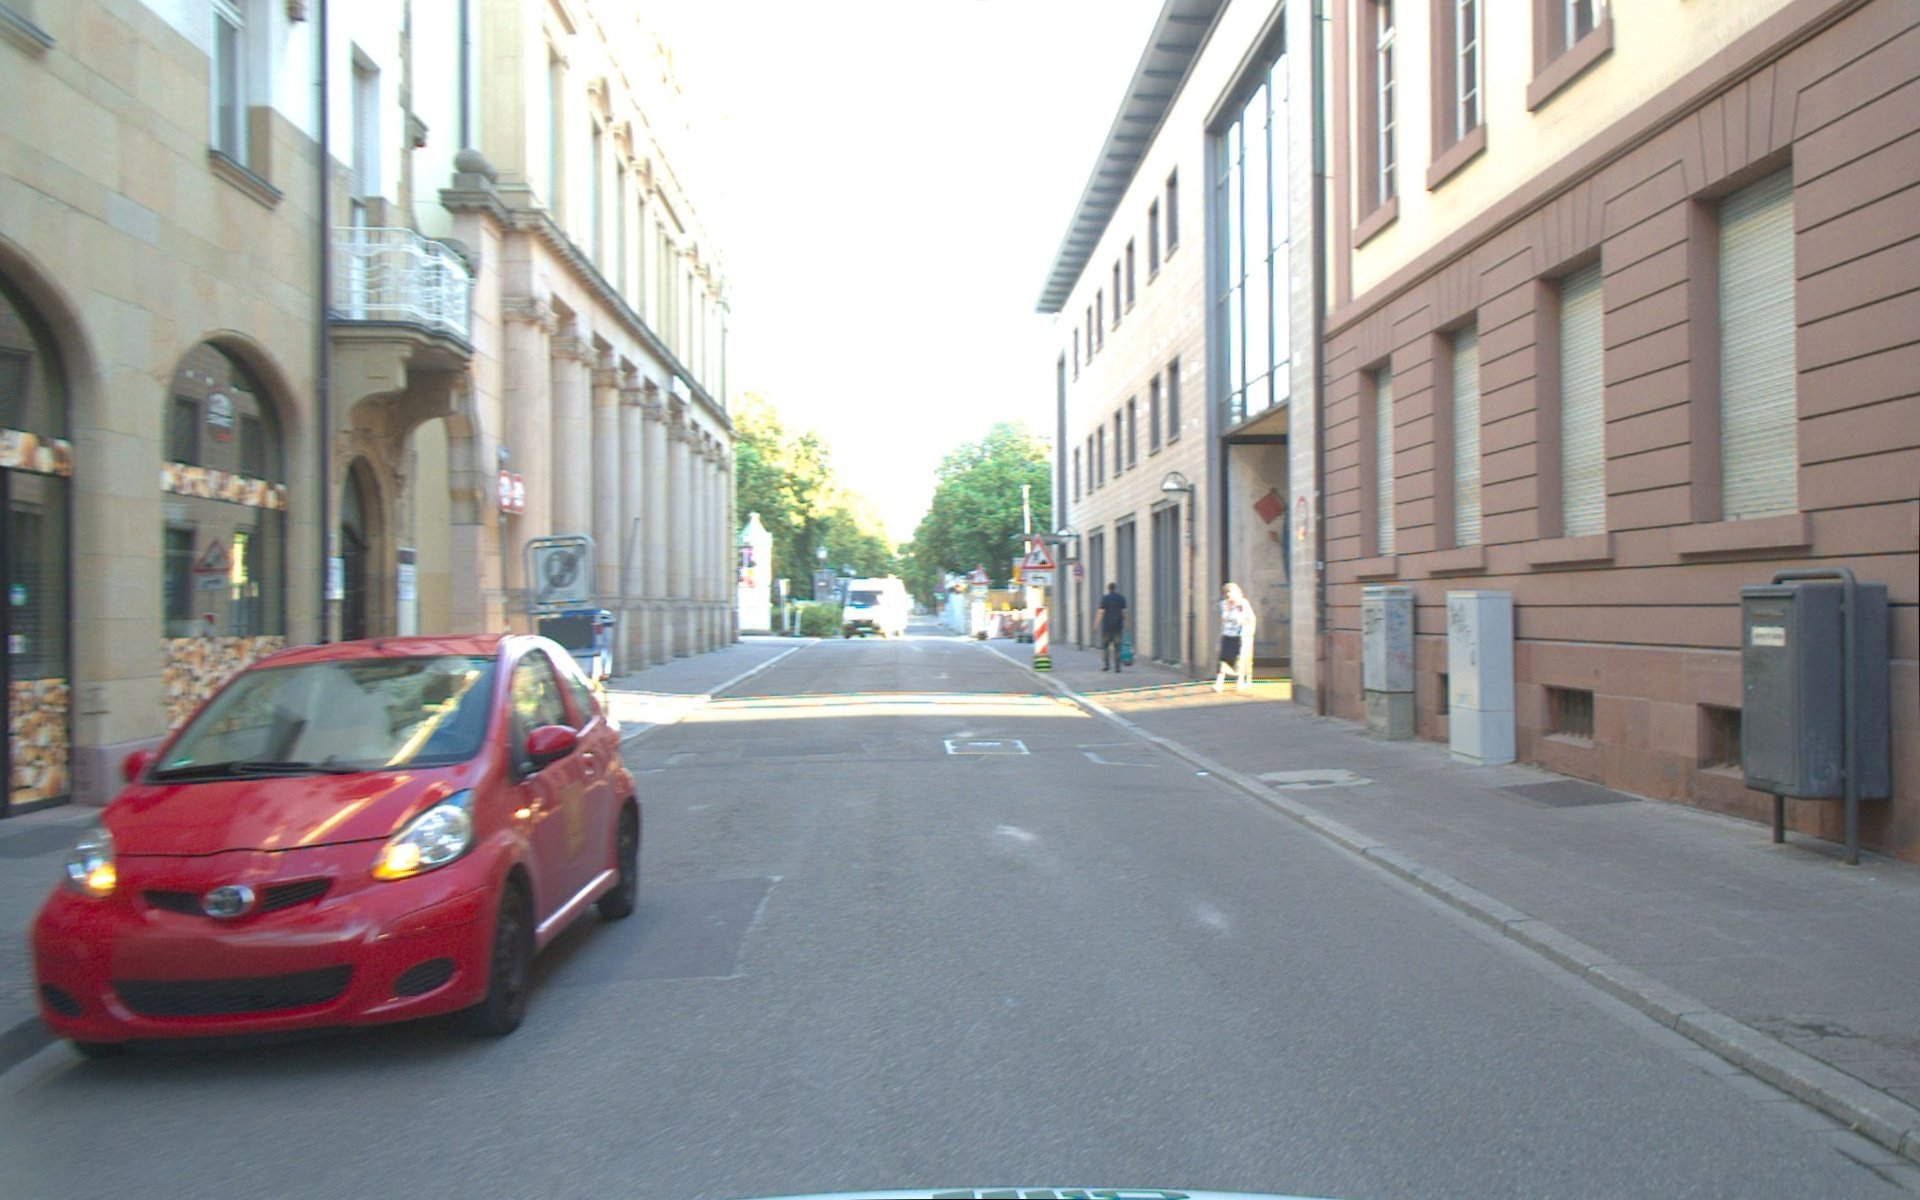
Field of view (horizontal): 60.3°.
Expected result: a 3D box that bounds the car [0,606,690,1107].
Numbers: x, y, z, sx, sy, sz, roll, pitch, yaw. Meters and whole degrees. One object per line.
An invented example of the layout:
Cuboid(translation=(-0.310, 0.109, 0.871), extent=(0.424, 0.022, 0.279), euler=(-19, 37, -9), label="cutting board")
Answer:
Cuboid(translation=(-2.342, 0.842, 7.304), extent=(1.624, 1.495, 3.931), euler=(-4, -1, -1), label="car")

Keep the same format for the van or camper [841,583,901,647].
Cuboid(translation=(-3.799, 0.611, 71.716), extent=(2.173, 2.630, 6.372), euler=(-1, 0, 1), label="van or camper")

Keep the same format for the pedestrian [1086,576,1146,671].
Cuboid(translation=(3.178, 0.476, 33.779), extent=(0.981, 1.834, 0.881), euler=(-5, -1, -3), label="pedestrian")

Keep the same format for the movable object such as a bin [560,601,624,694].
Cuboid(translation=(-6.176, 0.779, 27.797), extent=(0.812, 1.529, 1.291), euler=(0, 0, -1), label="movable object such as a bin")

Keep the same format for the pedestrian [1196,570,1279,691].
Cuboid(translation=(4.373, 0.483, 26.059), extent=(0.890, 1.835, 0.834), euler=(-2, -1, -44), label="pedestrian")
